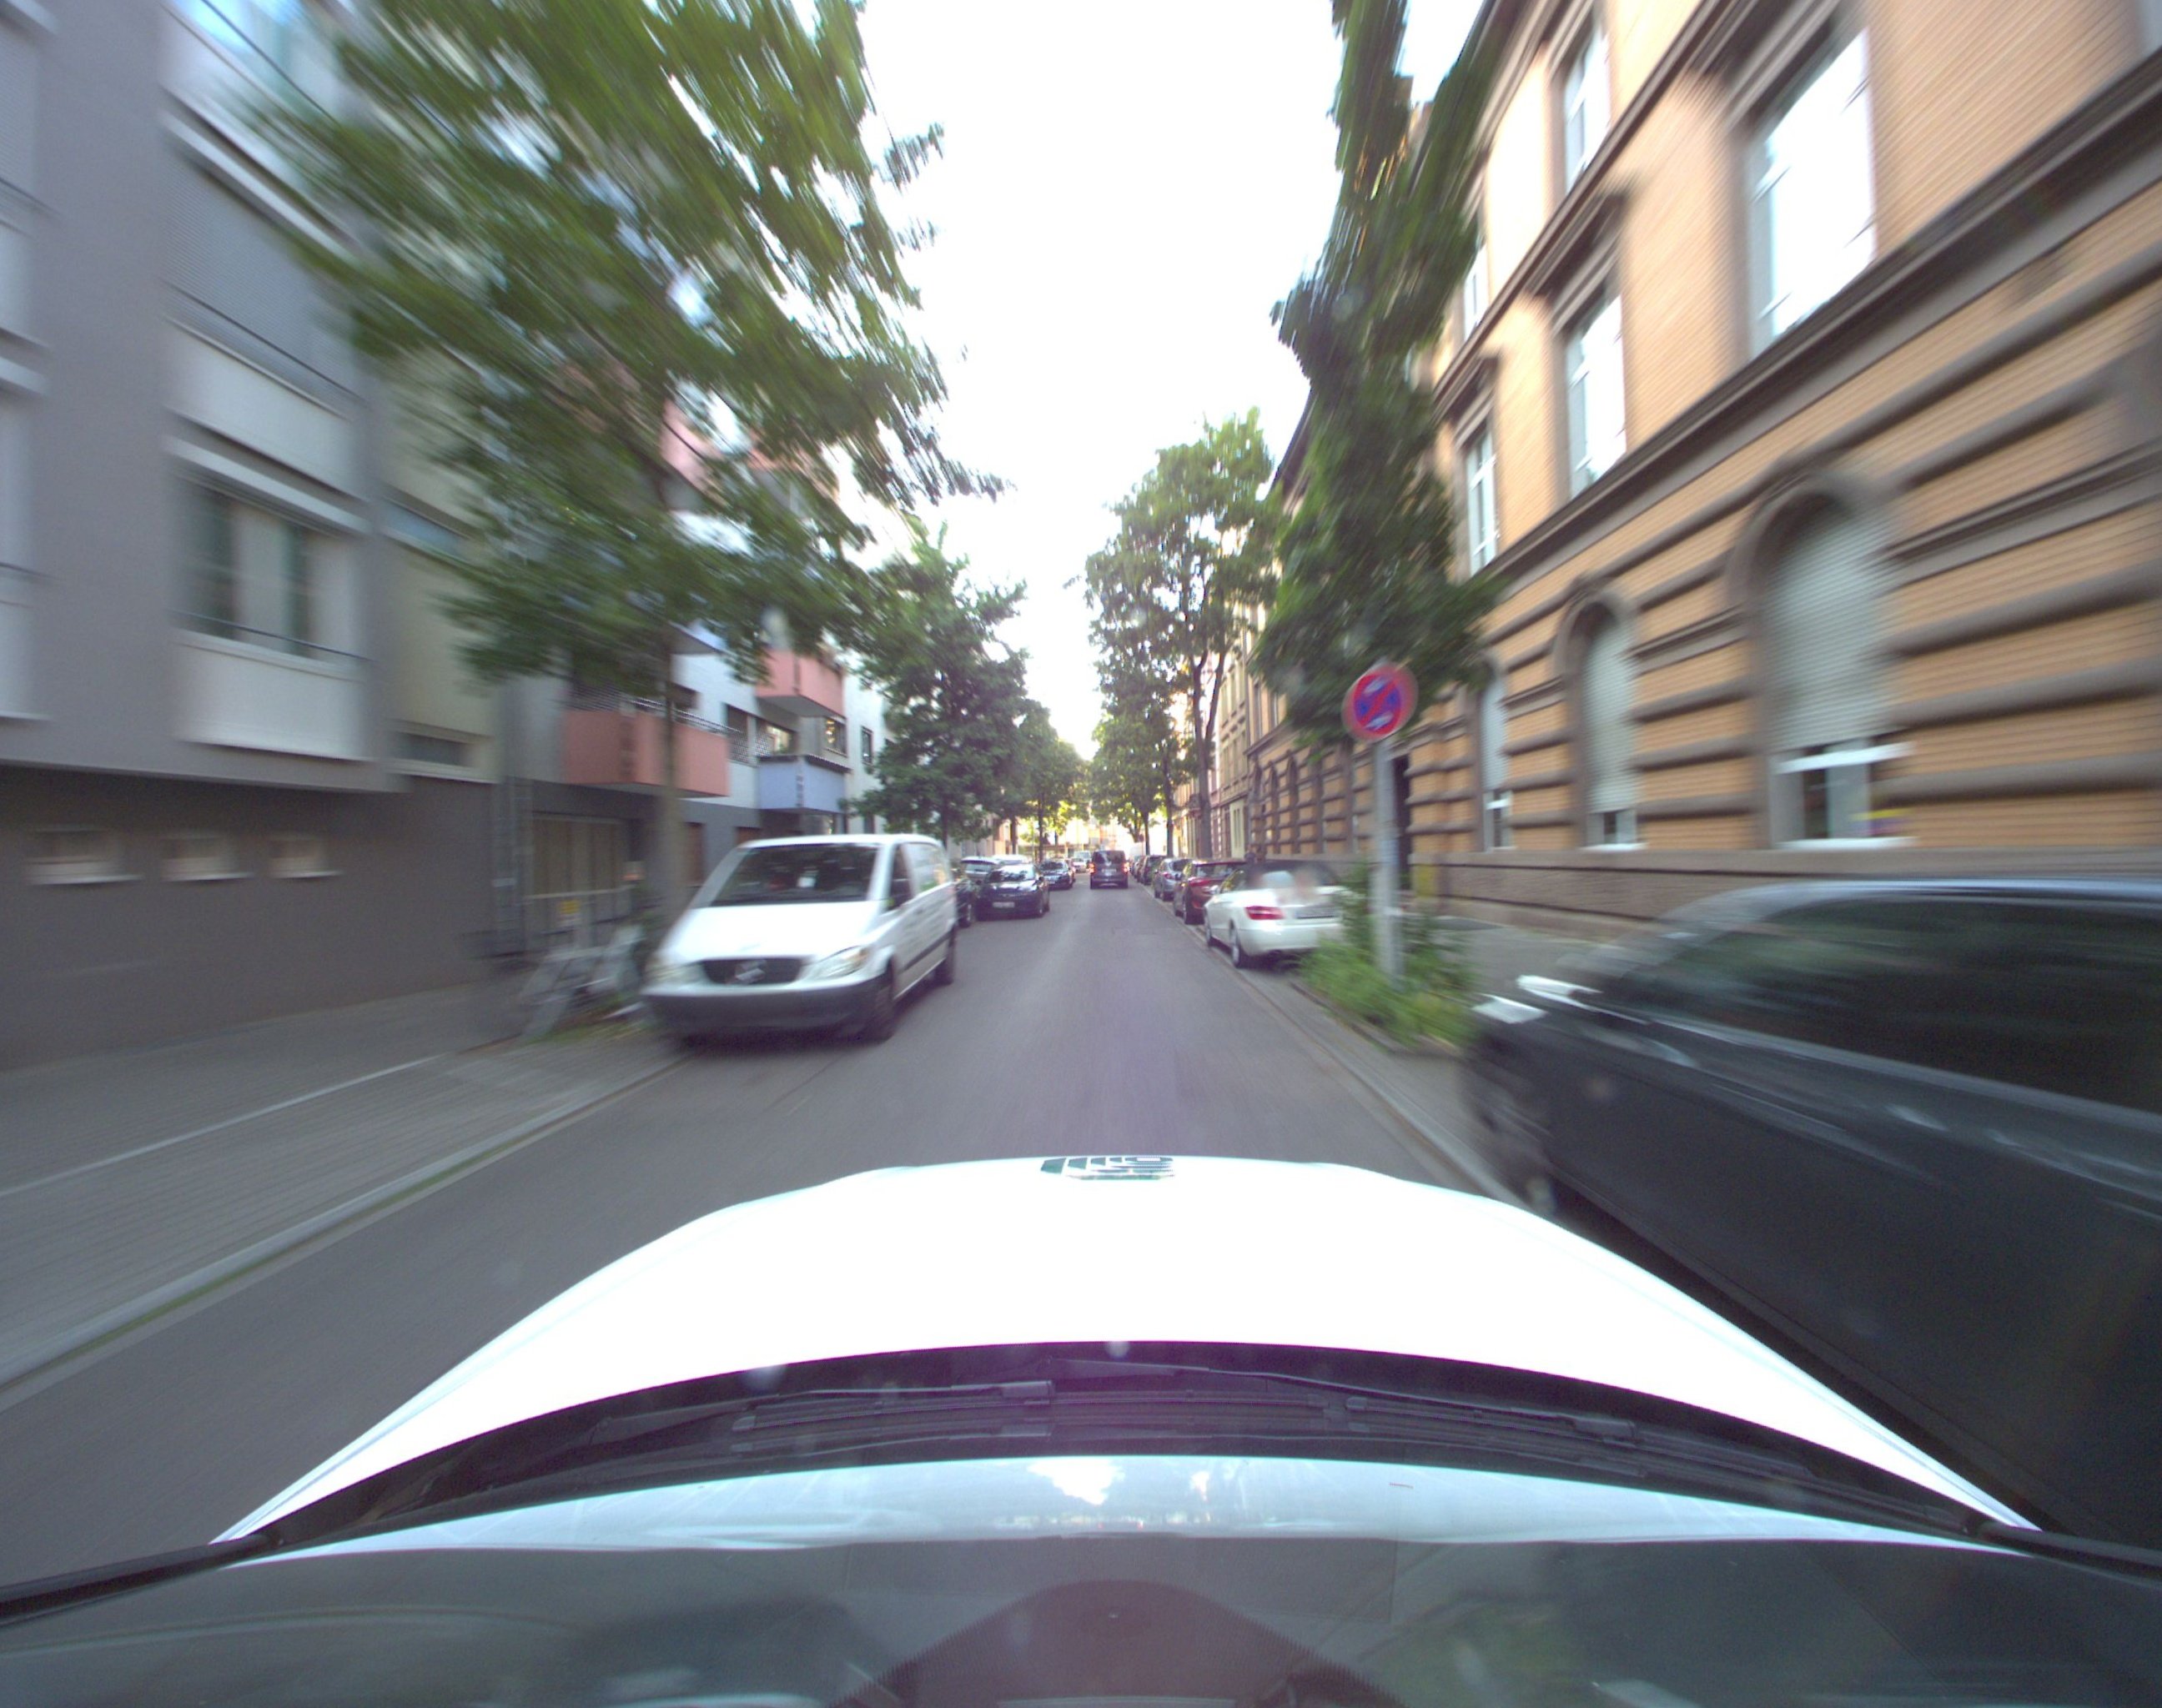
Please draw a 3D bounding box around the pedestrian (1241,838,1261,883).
[{"bbox_3d":[6.262,0.251,30.033,0.624,1.648,0.532,-1,0,2],"label":"pedestrian"}]

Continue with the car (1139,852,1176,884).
[{"bbox_3d":[4.037,0.726,43.536,1.606,1.559,3.766,-2,0,0],"label":"car"}]

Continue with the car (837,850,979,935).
[{"bbox_3d":[-3.665,0.750,18.309,1.986,1.646,4.924,0,0,2],"label":"car"}]

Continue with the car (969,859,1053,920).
[{"bbox_3d":[-1.859,0.918,22.932,1.824,1.517,4.517,-1,0,1],"label":"car"}]

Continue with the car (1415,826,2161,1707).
[{"bbox_3d":[2.595,0.677,2.227,1.705,1.478,4.193,-1,0,1],"label":"car"}]

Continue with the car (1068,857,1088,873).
[{"bbox_3d":[-0.265,0.976,75.550,1.735,1.404,3.376,-2,0,2],"label":"car"}]

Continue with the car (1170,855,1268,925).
[{"bbox_3d":[3.193,0.788,19.625,1.715,1.450,4.216,-2,-1,2],"label":"car"}]

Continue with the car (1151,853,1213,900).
[{"bbox_3d":[3.585,0.776,29.529,1.692,1.483,3.999,-3,0,0],"label":"car"}]

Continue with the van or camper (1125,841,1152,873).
[{"bbox_3d":[5.004,0.262,71.544,1.987,2.599,5.424,-1,0,1],"label":"van or camper"}]

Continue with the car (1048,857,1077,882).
[{"bbox_3d":[-1.104,0.921,50.392,1.624,1.430,3.543,-2,0,1],"label":"car"}]

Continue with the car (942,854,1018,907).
[{"bbox_3d":[-3.522,0.876,29.378,2.027,1.672,4.649,2,0,1],"label":"car"}]

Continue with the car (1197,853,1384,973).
[{"bbox_3d":[2.894,0.721,12.292,1.687,1.401,4.647,-2,0,1],"label":"car"}]

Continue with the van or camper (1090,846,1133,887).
[{"bbox_3d":[1.596,0.600,41.024,2.026,1.897,4.275,-1,0,4],"label":"van or camper"}]

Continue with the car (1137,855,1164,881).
[{"bbox_3d":[4.076,0.791,47.836,1.543,1.496,3.615,-1,0,5],"label":"car"}]

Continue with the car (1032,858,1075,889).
[{"bbox_3d":[-1.323,0.951,40.952,1.839,1.451,4.505,-1,0,2],"label":"car"}]

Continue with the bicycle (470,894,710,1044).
[{"bbox_3d":[-4.643,1.019,7.807,0.690,1.163,1.834,-2,0,44],"label":"bicycle"}]

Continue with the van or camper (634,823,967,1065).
[{"bbox_3d":[-2.529,0.702,8.770,1.870,1.843,4.752,-2,0,0],"label":"van or camper"}]

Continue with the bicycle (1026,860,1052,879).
[{"bbox_3d":[-2.841,1.047,55.570,1.839,1.195,0.598,0,1,-44],"label":"bicycle"}]

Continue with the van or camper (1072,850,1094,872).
[{"bbox_3d":[0.235,0.678,80.646,1.854,1.983,4.274,-2,0,3],"label":"van or camper"}]

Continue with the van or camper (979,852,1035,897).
[{"bbox_3d":[-3.132,0.832,35.291,1.924,1.760,4.466,2,0,1],"label":"van or camper"}]

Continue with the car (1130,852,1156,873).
[{"bbox_3d":[4.579,0.636,60.563,1.743,1.471,3.778,-1,0,2],"label":"car"}]
